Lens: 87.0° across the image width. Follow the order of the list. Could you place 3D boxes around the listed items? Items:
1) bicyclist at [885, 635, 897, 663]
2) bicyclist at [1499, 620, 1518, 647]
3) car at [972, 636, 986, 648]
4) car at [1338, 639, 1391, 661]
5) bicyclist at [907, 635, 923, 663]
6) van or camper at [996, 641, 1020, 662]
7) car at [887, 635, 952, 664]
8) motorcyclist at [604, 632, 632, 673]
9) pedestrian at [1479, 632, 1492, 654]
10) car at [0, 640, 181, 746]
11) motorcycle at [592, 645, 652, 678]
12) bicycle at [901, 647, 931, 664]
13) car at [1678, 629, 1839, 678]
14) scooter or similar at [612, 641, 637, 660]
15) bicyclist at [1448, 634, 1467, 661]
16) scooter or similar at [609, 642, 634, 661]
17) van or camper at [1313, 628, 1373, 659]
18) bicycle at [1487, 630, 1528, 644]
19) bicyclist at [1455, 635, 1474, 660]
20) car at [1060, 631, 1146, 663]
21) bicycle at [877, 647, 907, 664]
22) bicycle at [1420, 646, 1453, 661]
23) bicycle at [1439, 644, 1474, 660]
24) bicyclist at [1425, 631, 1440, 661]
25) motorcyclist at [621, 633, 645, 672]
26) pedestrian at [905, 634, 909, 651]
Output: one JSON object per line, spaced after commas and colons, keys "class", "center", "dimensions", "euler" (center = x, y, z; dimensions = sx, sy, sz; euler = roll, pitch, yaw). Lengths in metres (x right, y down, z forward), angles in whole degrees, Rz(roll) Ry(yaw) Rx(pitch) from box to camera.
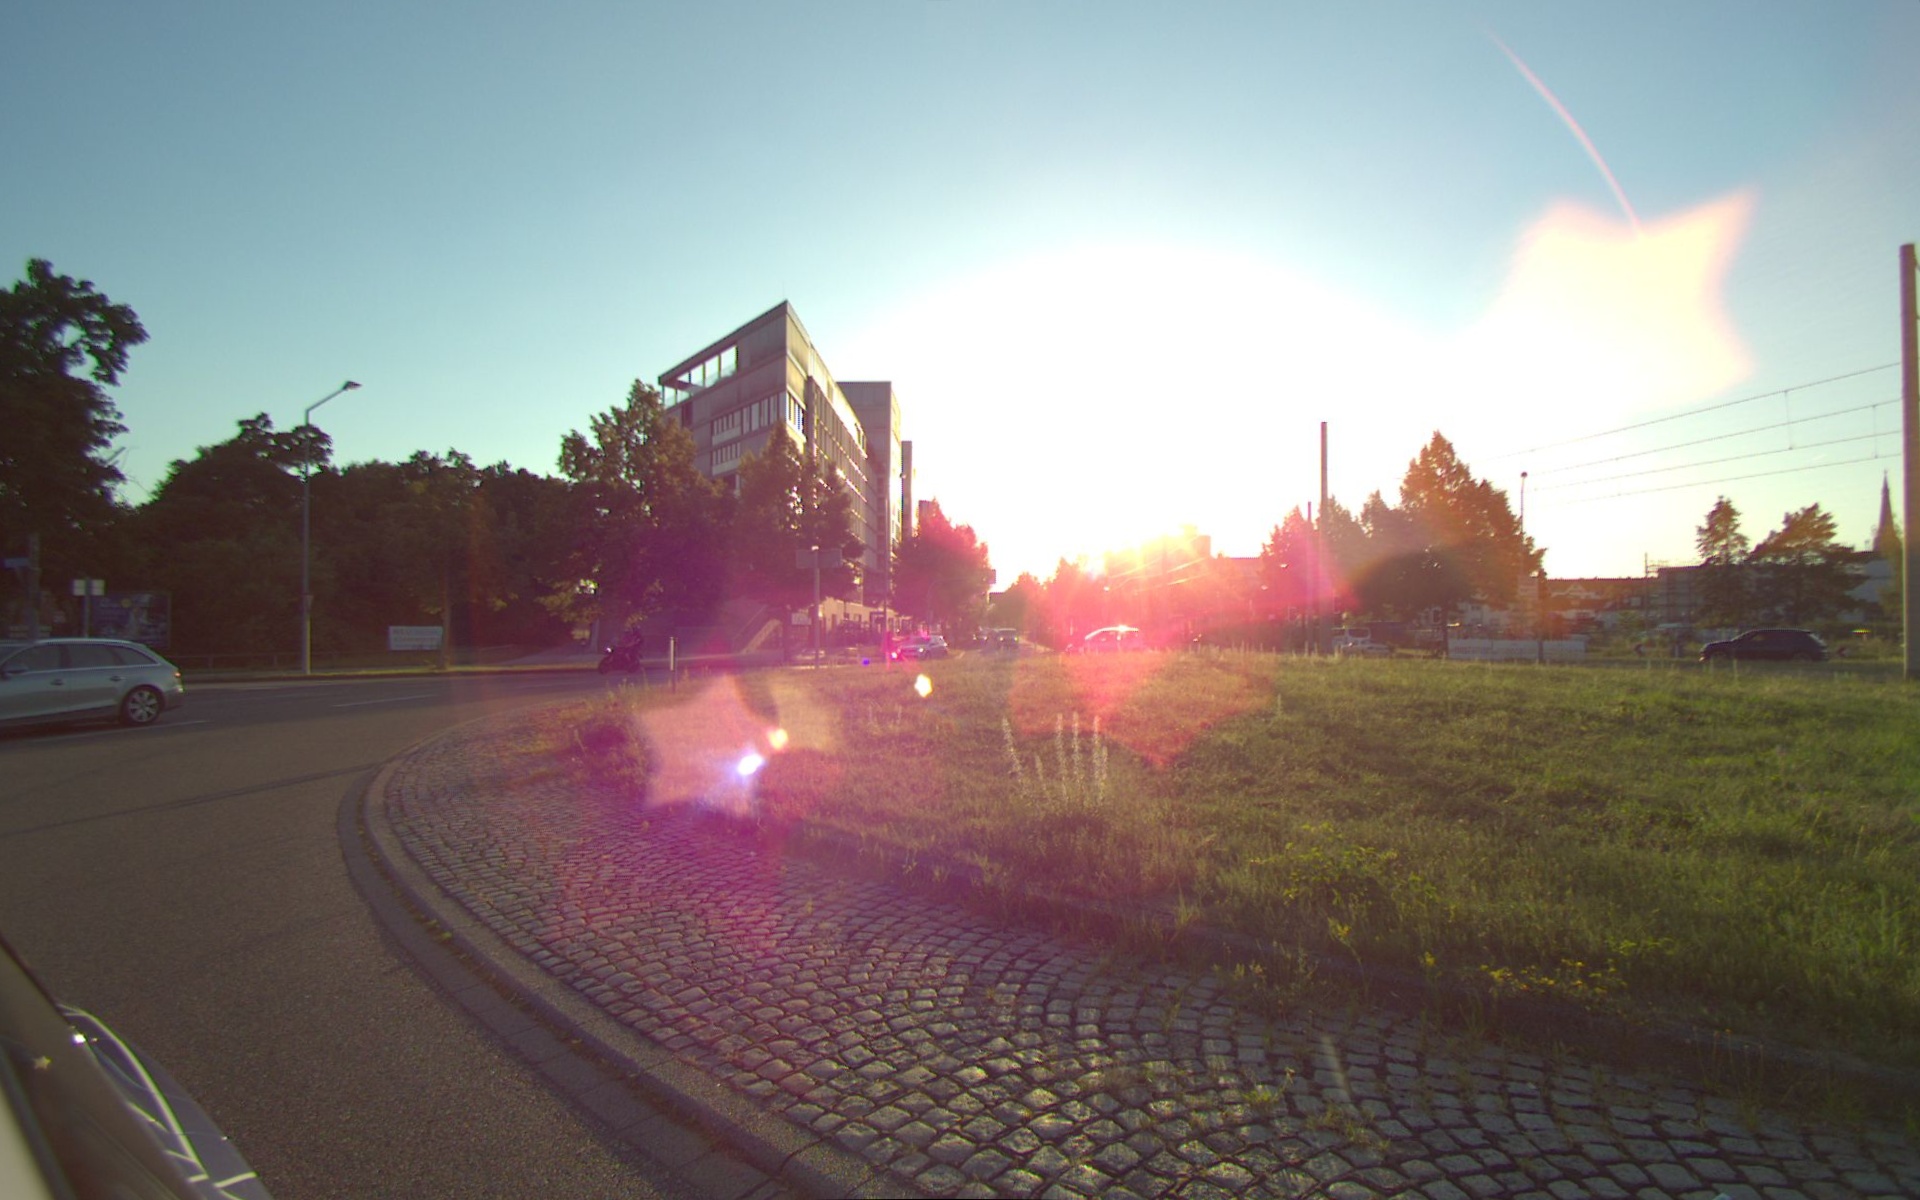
{"class": "bicyclist", "center": [-4.227, 3.018, 62.283], "dimensions": [0.673, 1.661, 0.685], "euler": [0, -2, -8]}
{"class": "bicyclist", "center": [33.086, 2.033, 61.032], "dimensions": [0.684, 1.646, 0.800], "euler": [2, -3, -39]}
{"class": "car", "center": [2.433, 5.326, 129.425], "dimensions": [1.778, 1.475, 3.998], "euler": [0, -2, 1]}
{"class": "car", "center": [24.879, 3.057, 62.355], "dimensions": [1.557, 1.265, 3.781], "euler": [-2, -2, -2]}
{"class": "bicyclist", "center": [-2.836, 3.076, 63.824], "dimensions": [0.839, 1.769, 0.802], "euler": [-1, -2, 8]}
{"class": "van or camper", "center": [4.827, 5.086, 101.137], "dimensions": [1.976, 1.972, 5.317], "euler": [-1, -2, 7]}
{"class": "car", "center": [-2.152, 2.662, 54.956], "dimensions": [1.883, 1.492, 4.015], "euler": [-1, -2, 26]}
{"class": "motorcyclist", "center": [-12.366, 1.888, 36.578], "dimensions": [0.688, 1.427, 0.705], "euler": [-2, -2, 38]}
{"class": "pedestrian", "center": [32.942, 2.722, 63.451], "dimensions": [0.426, 1.377, 0.505], "euler": [1, -3, -30]}
{"class": "car", "center": [-13.820, 1.295, 14.327], "dimensions": [1.782, 1.434, 4.437], "euler": [-1, -2, 8]}
{"class": "motorcycle", "center": [-12.254, 2.223, 36.723], "dimensions": [0.557, 1.109, 2.132], "euler": [-2, -2, 38]}
{"class": "bicycle", "center": [-2.809, 3.507, 64.108], "dimensions": [1.842, 1.030, 0.436], "euler": [-1, -2, 9]}
{"class": "car", "center": [30.299, 2.017, 38.493], "dimensions": [1.726, 1.761, 4.599], "euler": [2, -3, -45]}
{"class": "scooter or similar", "center": [-22.002, 3.341, 66.379], "dimensions": [1.560, 1.229, 0.365], "euler": [-1, -2, 12]}
{"class": "bicyclist", "center": [30.918, 2.931, 62.912], "dimensions": [0.804, 1.653, 0.814], "euler": [-1, -2, 5]}
{"class": "scooter or similar", "center": [-22.085, 3.340, 65.956], "dimensions": [1.560, 1.229, 0.365], "euler": [-1, -2, 11]}
{"class": "van or camper", "center": [26.785, 3.088, 70.941], "dimensions": [1.887, 2.025, 5.305], "euler": [0, -3, -3]}
{"class": "bicycle", "center": [33.093, 2.230, 61.189], "dimensions": [0.504, 0.852, 2.139], "euler": [2, -3, -39]}
{"class": "bicyclist", "center": [30.782, 2.908, 61.781], "dimensions": [0.804, 1.517, 0.592], "euler": [-1, -2, 5]}
{"class": "car", "center": [6.604, 2.177, 46.987], "dimensions": [3.653, 1.477, 1.609], "euler": [0, -3, -6]}
{"class": "bicycle", "center": [-4.162, 3.400, 62.108], "dimensions": [1.834, 1.030, 0.308], "euler": [0, -2, -8]}
{"class": "bicycle", "center": [30.422, 3.409, 64.654], "dimensions": [1.820, 0.988, 0.549], "euler": [-1, -2, 5]}
{"class": "bicycle", "center": [30.851, 3.243, 62.929], "dimensions": [1.820, 0.988, 0.549], "euler": [-1, -2, 5]}
{"class": "bicyclist", "center": [30.206, 2.928, 64.703], "dimensions": [0.669, 1.933, 0.614], "euler": [-1, -2, 5]}
{"class": "motorcyclist", "center": [-11.974, 1.906, 37.107], "dimensions": [0.635, 1.419, 0.587], "euler": [-2, -2, 38]}
{"class": "pedestrian", "center": [-6.628, 5.311, 126.334], "dimensions": [0.531, 2.029, 0.527], "euler": [-1, -2, 1]}
